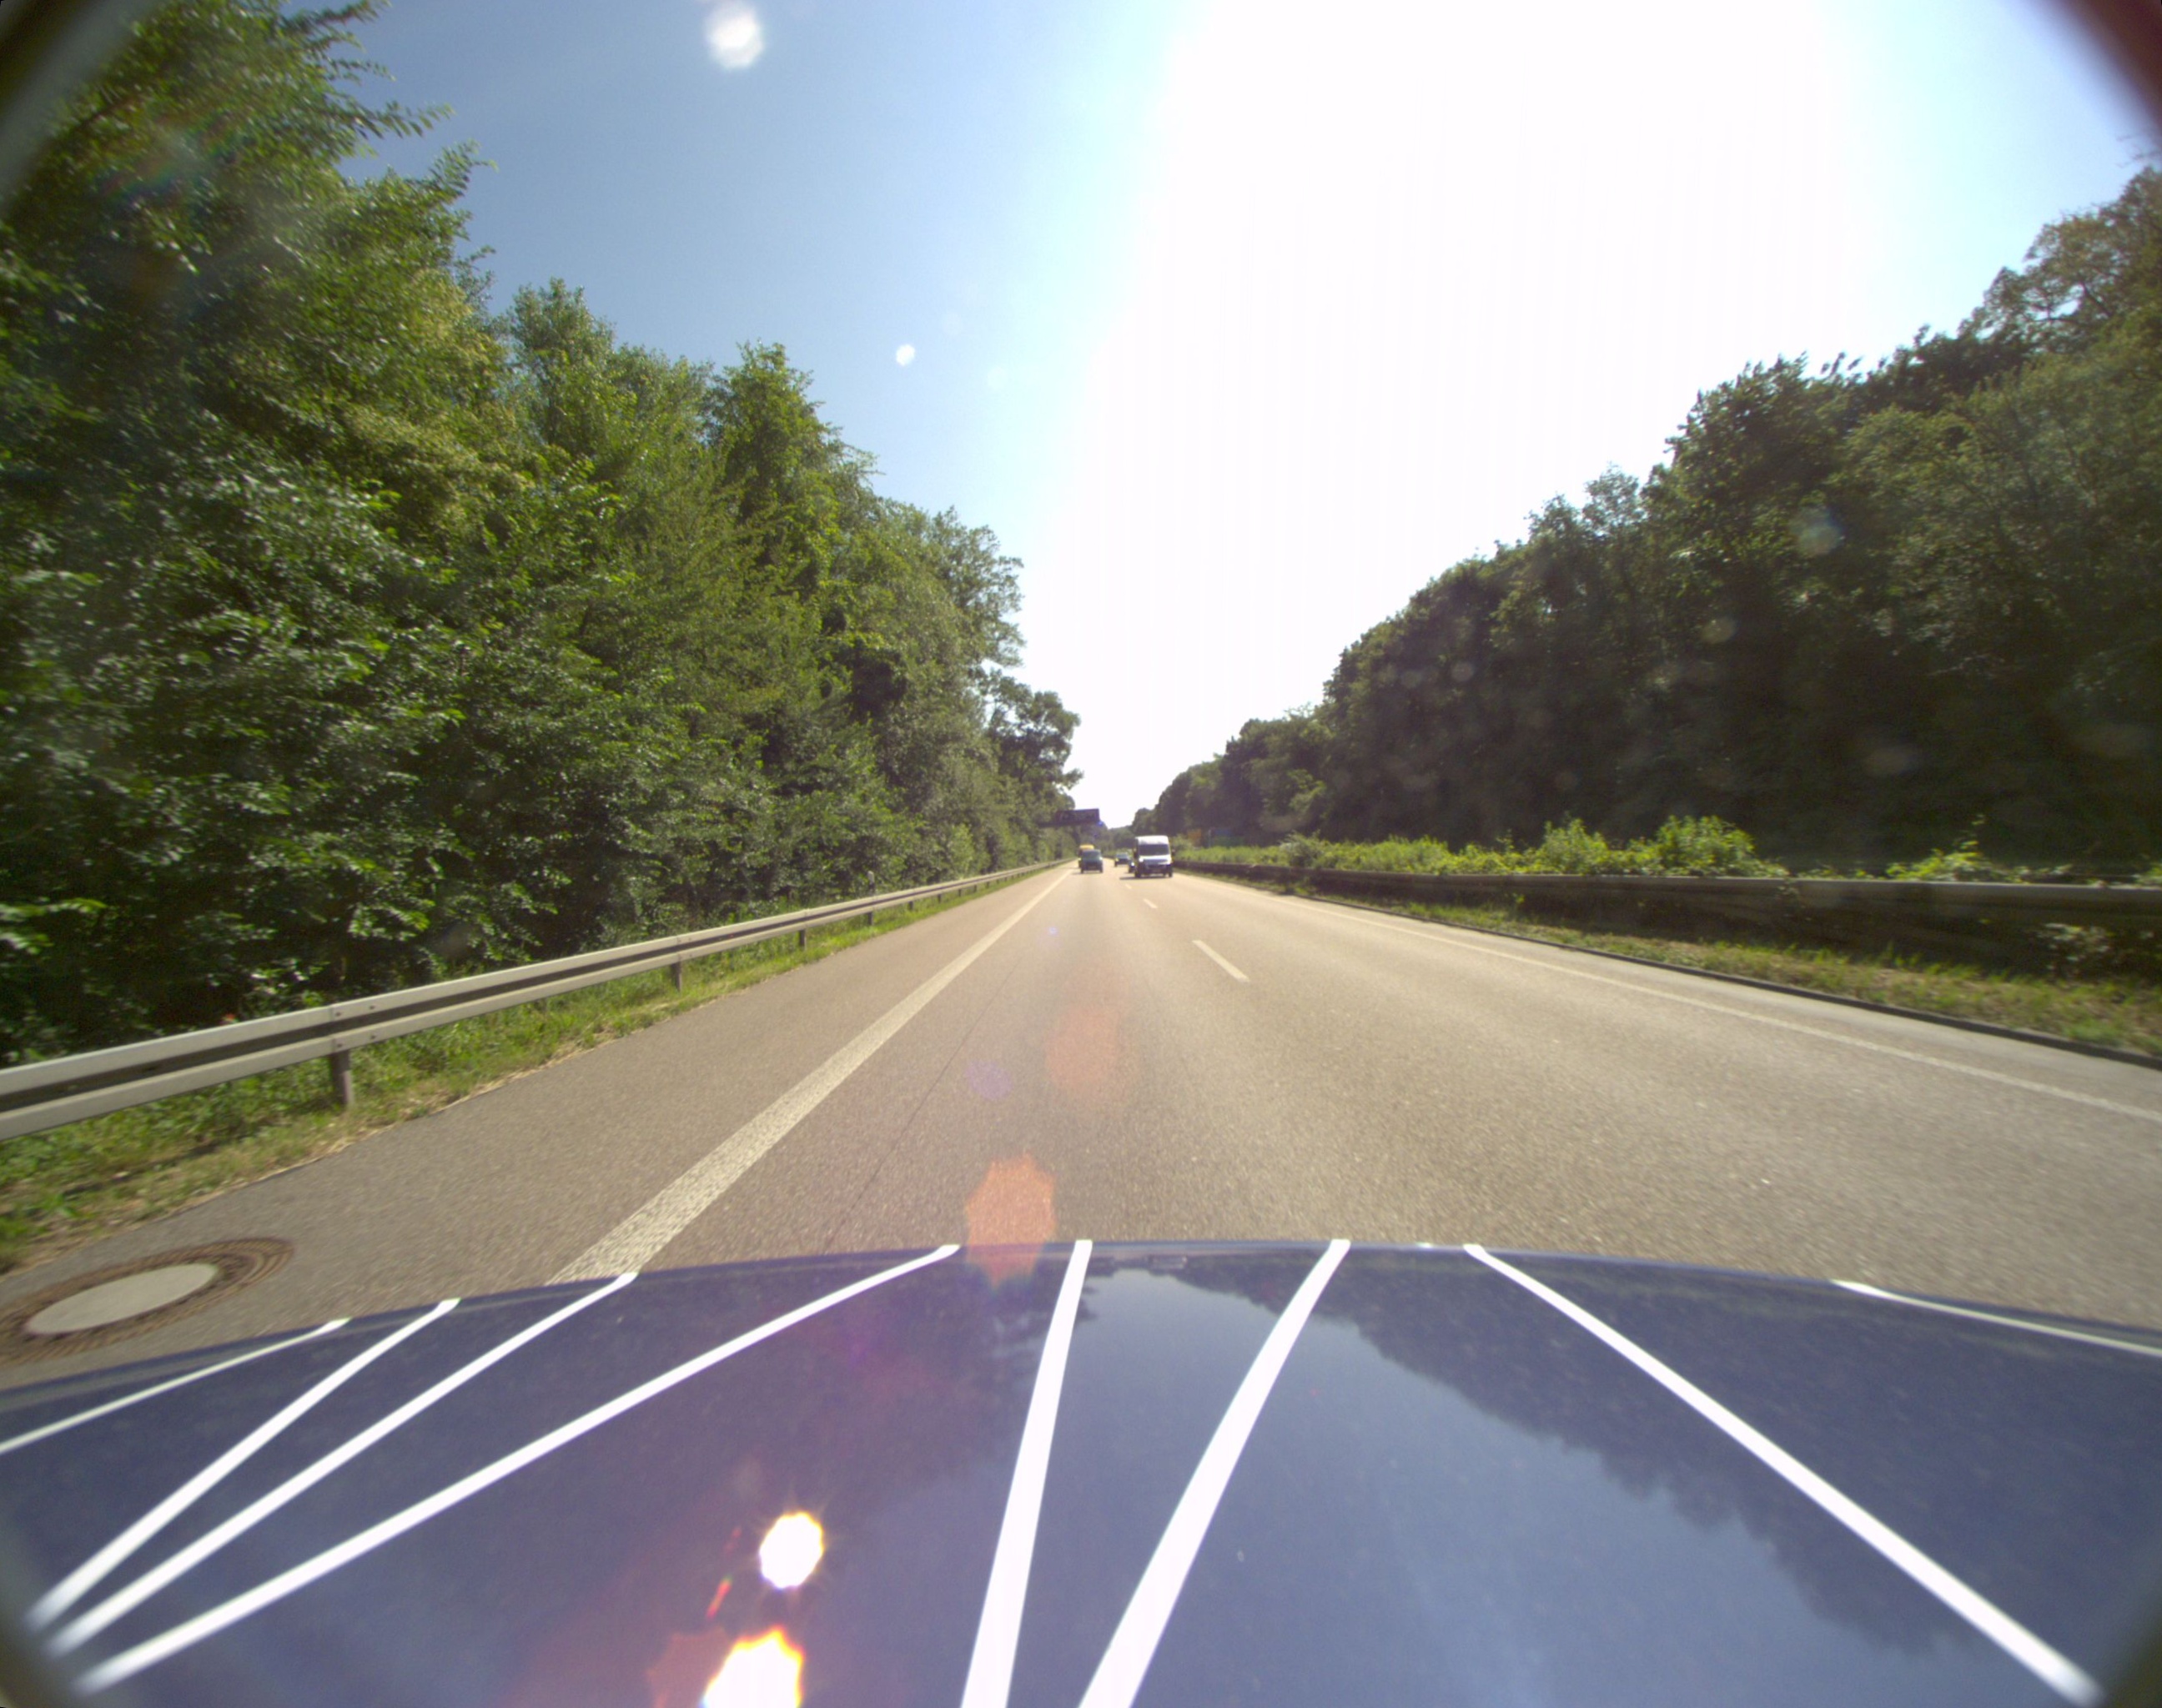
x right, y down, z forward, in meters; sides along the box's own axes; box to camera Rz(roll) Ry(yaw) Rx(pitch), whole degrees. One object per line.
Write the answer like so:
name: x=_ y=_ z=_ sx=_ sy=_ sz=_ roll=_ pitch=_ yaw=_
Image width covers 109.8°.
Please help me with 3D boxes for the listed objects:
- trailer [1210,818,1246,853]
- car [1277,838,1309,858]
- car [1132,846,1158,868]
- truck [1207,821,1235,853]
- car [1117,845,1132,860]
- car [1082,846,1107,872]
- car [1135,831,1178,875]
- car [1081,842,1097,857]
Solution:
trailer: x=16.924 y=-2.079 z=87.975 sx=2.695 sy=3.690 sz=7.983 roll=-3 pitch=1 yaw=1
car: x=17.210 y=-0.498 z=61.798 sx=1.676 sy=1.465 sz=3.623 roll=-3 pitch=1 yaw=2
car: x=4.899 y=0.202 z=58.305 sx=1.666 sy=1.624 sz=3.644 roll=-3 pitch=1 yaw=1
truck: x=17.000 y=-2.088 z=92.579 sx=2.652 sy=3.685 sz=4.000 roll=-3 pitch=1 yaw=1
car: x=5.018 y=-0.213 z=88.560 sx=1.517 sy=1.624 sz=3.611 roll=-3 pitch=1 yaw=1
car: x=1.040 y=0.367 z=60.479 sx=1.812 sy=1.921 sz=4.581 roll=-3 pitch=1 yaw=1
car: x=4.485 y=-0.062 z=45.742 sx=2.046 sy=2.429 sz=4.637 roll=-3 pitch=1 yaw=1
car: x=0.946 y=-0.537 z=90.675 sx=1.737 sy=1.624 sz=3.899 roll=-3 pitch=1 yaw=1
